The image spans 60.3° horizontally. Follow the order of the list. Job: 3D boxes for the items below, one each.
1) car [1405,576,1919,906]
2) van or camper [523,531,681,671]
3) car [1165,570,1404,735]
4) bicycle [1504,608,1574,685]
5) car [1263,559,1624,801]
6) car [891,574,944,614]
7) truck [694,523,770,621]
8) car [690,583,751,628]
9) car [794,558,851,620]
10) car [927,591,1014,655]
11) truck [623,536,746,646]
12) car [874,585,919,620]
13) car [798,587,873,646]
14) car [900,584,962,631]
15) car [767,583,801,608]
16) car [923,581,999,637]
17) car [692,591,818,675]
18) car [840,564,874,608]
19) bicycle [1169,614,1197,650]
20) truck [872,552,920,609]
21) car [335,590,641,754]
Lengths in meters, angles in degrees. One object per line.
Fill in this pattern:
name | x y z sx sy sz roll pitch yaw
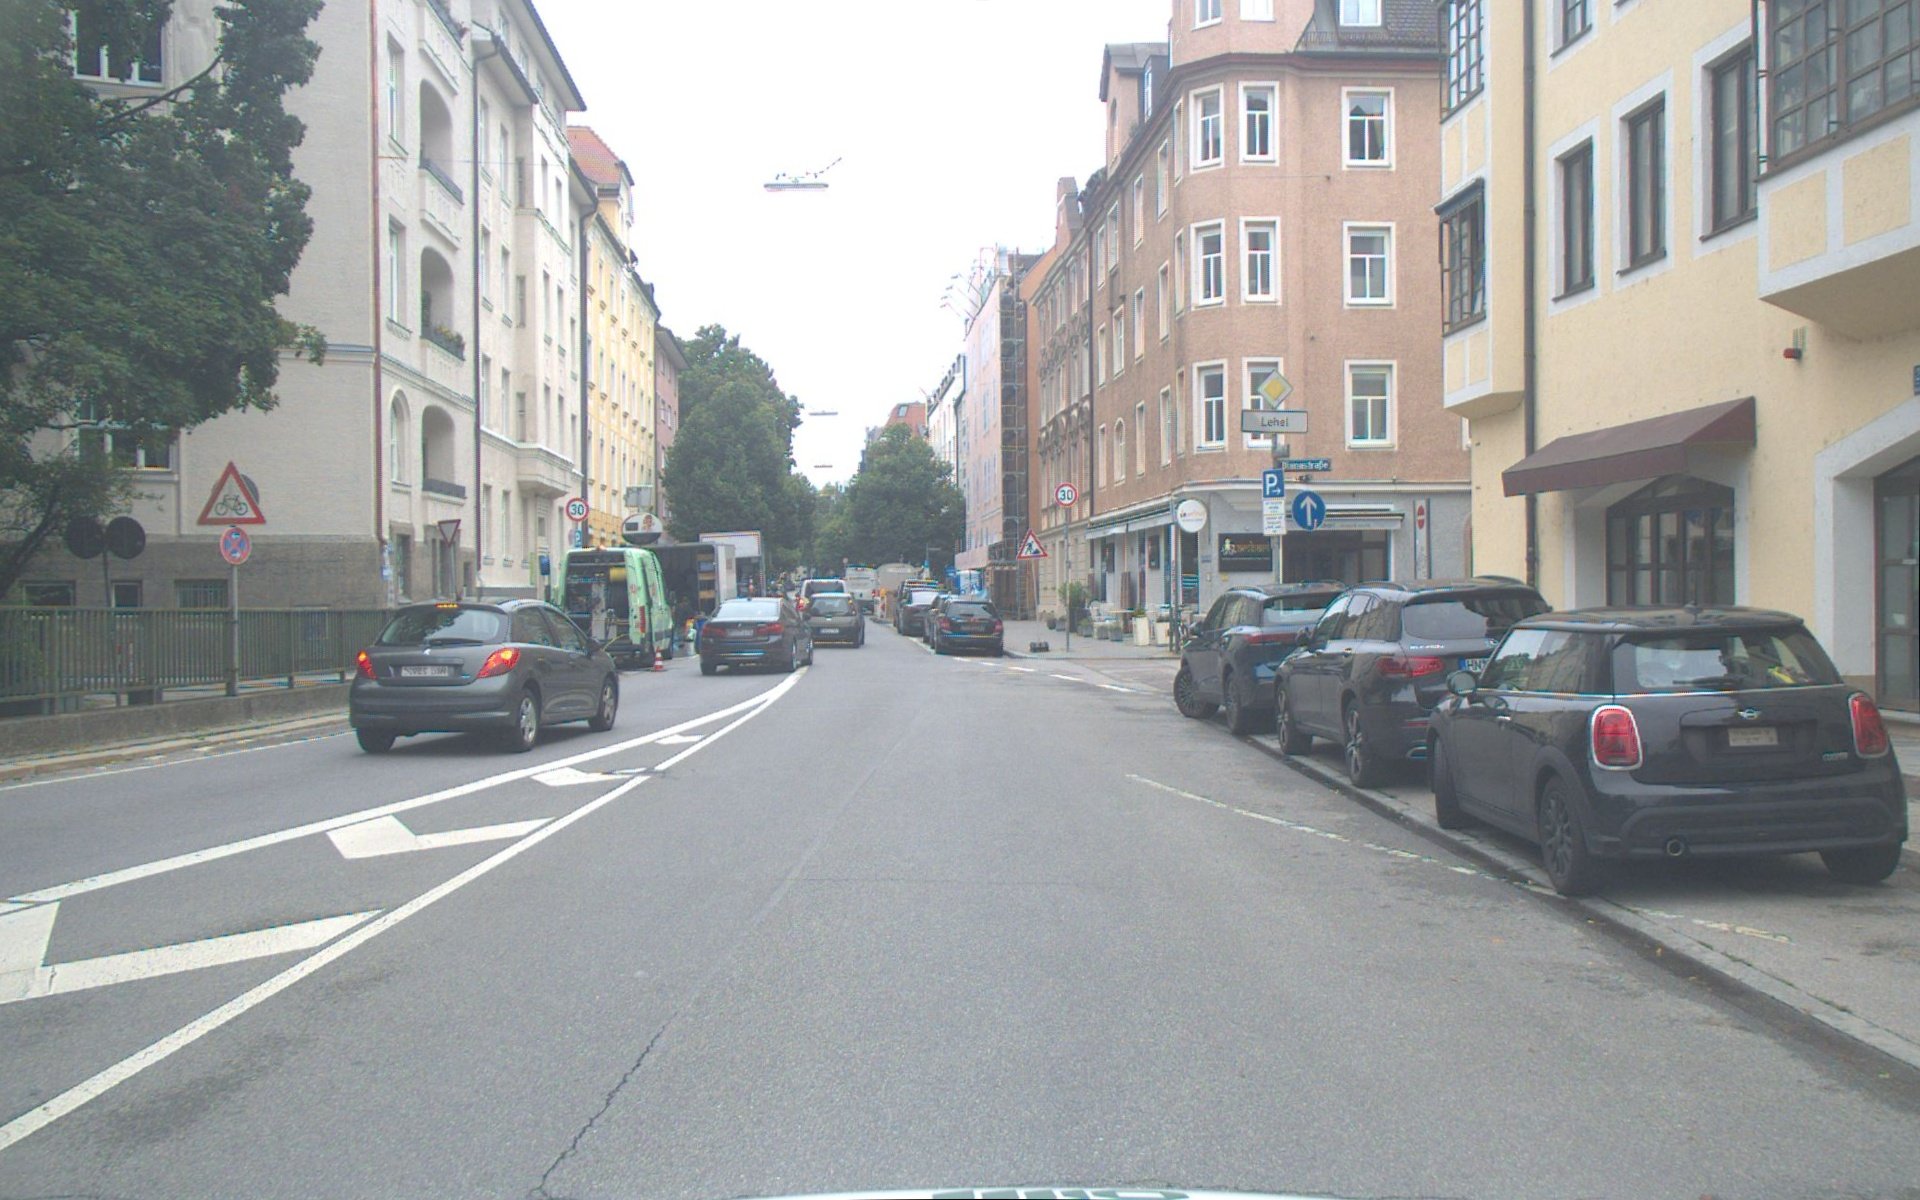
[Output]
car | 3.967 0.660 9.827 1.720 1.522 3.824 -2 0 2
van or camper | -7.993 -0.052 37.612 2.549 2.889 6.182 -1 1 -3
car | 3.782 0.552 20.094 1.782 1.708 4.508 -2 0 -3
bicycle | 7.884 0.612 22.569 0.265 0.994 1.683 0 0 -3
car | 3.981 0.569 14.497 1.721 1.708 4.706 -2 0 0
car | -1.735 -0.263 65.565 1.951 1.454 4.138 -1 1 -4
truck | -9.705 -1.172 71.053 2.954 4.021 6.987 0 0 -5
car | -9.147 0.192 63.409 1.951 1.639 4.137 0 0 -4
car | -4.924 -0.428 59.630 1.951 2.111 4.138 -1 1 -4
car | 0.217 0.564 42.970 1.808 1.454 4.179 2 1 -5
truck | -7.874 -0.327 48.079 2.718 2.923 7.198 -1 1 -3
car | -2.921 0.094 75.051 1.951 1.454 4.138 -1 1 -4
car | -3.423 0.425 45.849 1.951 1.454 4.138 -1 1 -4
car | -1.048 0.236 57.608 1.808 1.454 4.302 2 1 -5
car | -10.404 -0.280 97.739 1.902 1.473 3.862 0 0 -5
car | -0.019 0.238 48.864 1.808 1.454 4.136 2 1 -5
car | -4.042 0.596 33.384 1.949 1.454 4.906 -1 1 0
car | -6.039 -0.810 97.681 1.901 2.523 4.780 0 0 -2
bicycle | 5.213 0.745 38.667 0.447 0.819 1.326 0 0 -2
truck | -3.543 -1.071 91.022 2.443 3.025 5.322 0 0 -5
car | -4.753 0.659 17.296 1.721 1.486 4.077 -1 0 5
